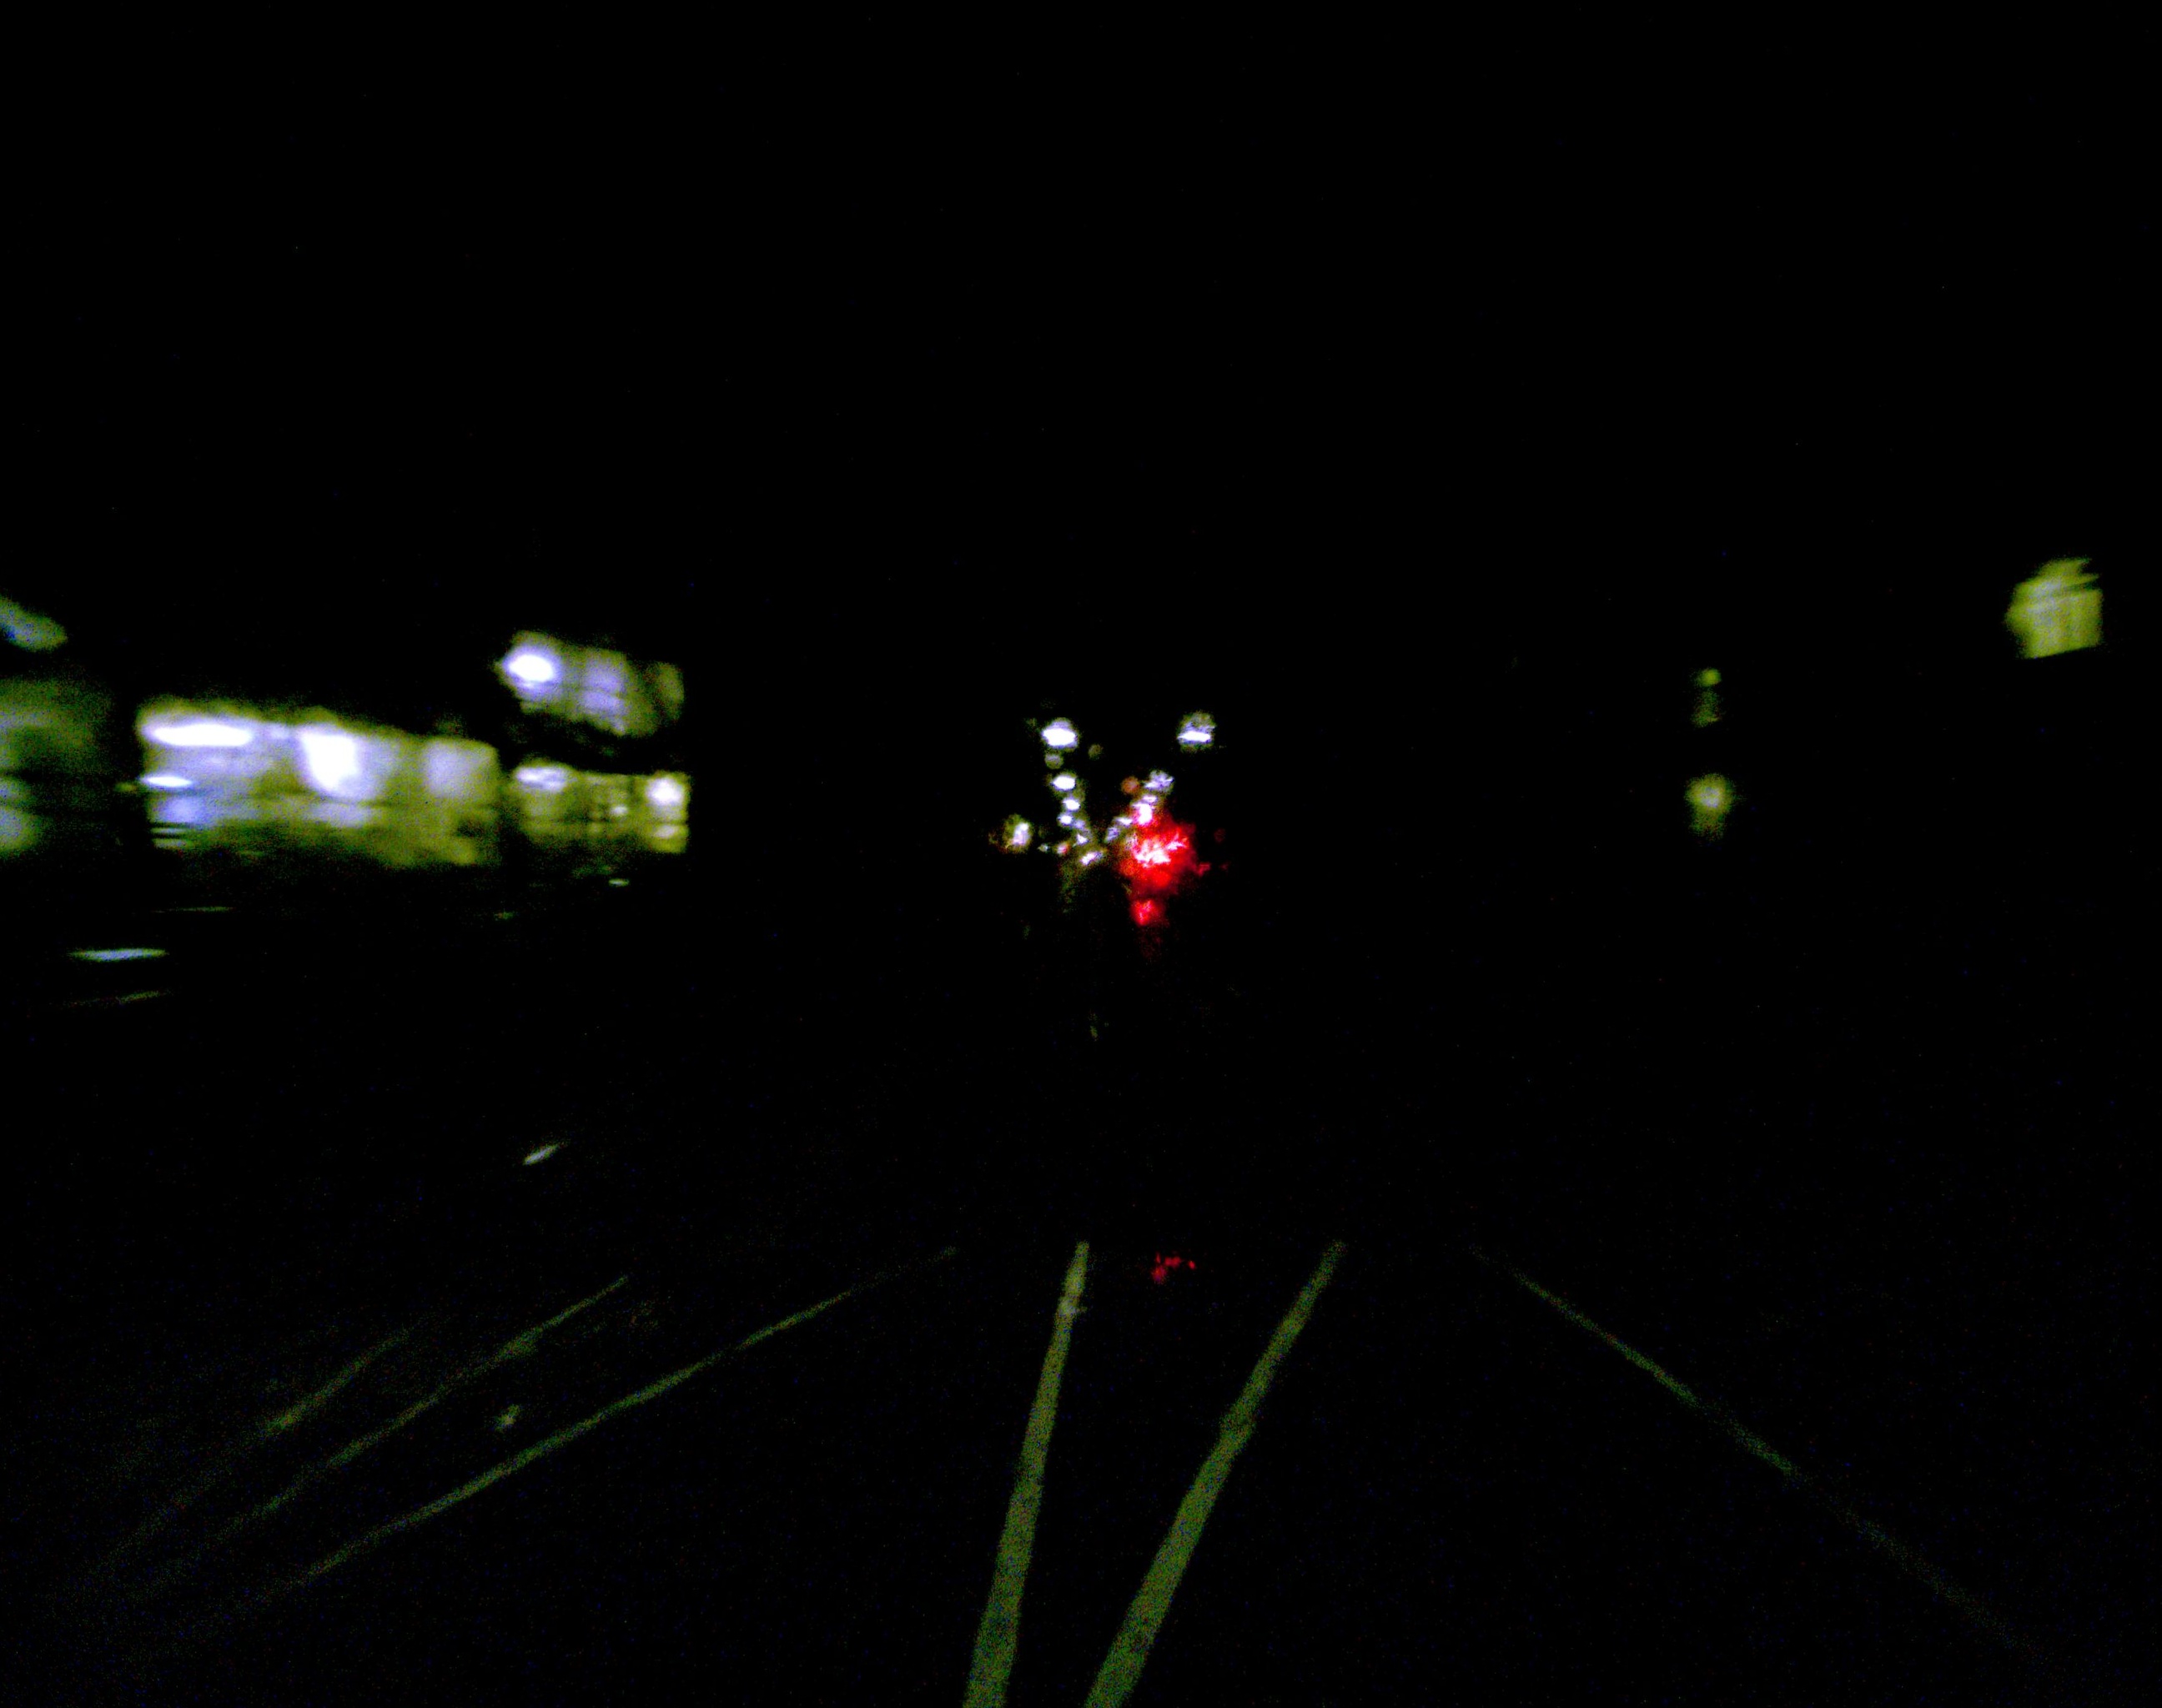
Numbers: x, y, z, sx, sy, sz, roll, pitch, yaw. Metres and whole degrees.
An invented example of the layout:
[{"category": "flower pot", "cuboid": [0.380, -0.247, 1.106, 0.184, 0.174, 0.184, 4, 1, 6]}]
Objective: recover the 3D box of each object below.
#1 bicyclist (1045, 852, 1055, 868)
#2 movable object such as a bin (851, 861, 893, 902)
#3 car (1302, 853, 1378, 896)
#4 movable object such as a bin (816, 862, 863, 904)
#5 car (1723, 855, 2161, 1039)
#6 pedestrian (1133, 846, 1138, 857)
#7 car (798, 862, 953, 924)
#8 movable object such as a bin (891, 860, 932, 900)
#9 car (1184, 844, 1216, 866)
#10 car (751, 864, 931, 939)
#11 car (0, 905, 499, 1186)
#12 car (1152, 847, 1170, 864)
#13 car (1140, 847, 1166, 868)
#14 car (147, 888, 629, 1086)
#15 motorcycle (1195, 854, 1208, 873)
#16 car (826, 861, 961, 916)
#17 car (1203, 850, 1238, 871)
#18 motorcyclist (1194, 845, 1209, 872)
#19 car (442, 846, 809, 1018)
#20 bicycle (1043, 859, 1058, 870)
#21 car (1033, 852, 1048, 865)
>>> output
[{"category": "bicyclist", "cuboid": [-3.110, 0.637, 76.950, 0.571, 1.539, 0.817, -2, 2, 29]}, {"category": "movable object such as a bin", "cuboid": [-7.634, 0.982, 27.739, 1.413, 1.399, 1.025, -1, 1, -19]}, {"category": "car", "cuboid": [10.005, 0.745, 29.642, 1.672, 1.379, 4.000, -4, 1, 2]}, {"category": "movable object such as a bin", "cuboid": [-8.343, 0.984, 26.362, 1.025, 1.399, 1.418, -1, 1, 7]}, {"category": "car", "cuboid": [9.521, 0.794, 8.378, 1.614, 1.420, 3.807, -3, 1, -1]}, {"category": "pedestrian", "cuboid": [9.562, -0.443, 133.972, 0.716, 1.764, 0.671, -4, 2, 4]}, {"category": "car", "cuboid": [-5.817, 1.045, 21.789, 1.802, 1.480, 3.863, -1, 1, 43]}, {"category": "movable object such as a bin", "cuboid": [-6.325, 0.950, 28.263, 1.353, 1.399, 1.025, -2, 1, -19]}, {"category": "car", "cuboid": [10.739, 0.081, 68.932, 1.998, 1.815, 5.309, -4, 0, 0]}, {"category": "car", "cuboid": [-5.822, 1.096, 18.727, 3.842, 1.430, 1.596, -4, 1, -43]}, {"category": "car", "cuboid": [-6.620, 1.164, 4.762, 1.687, 1.396, 4.467, -2, -1, 43]}, {"category": "car", "cuboid": [8.661, 0.149, 82.223, 1.930, 1.868, 4.639, 0, 0, 6]}, {"category": "car", "cuboid": [6.286, 0.283, 66.609, 1.943, 1.805, 4.385, 0, 0, 2]}, {"category": "car", "cuboid": [-6.705, 1.170, 7.861, 3.342, 1.377, 1.627, -3, 1, -34]}, {"category": "motorcycle", "cuboid": [8.192, 0.632, 51.679, 0.818, 1.223, 2.002, 3, 2, 10]}, {"category": "car", "cuboid": [-6.045, 1.079, 24.708, 3.797, 1.450, 1.765, -4, 1, -41]}, {"category": "car", "cuboid": [10.485, 0.469, 57.333, 1.770, 1.398, 4.140, -4, 1, -1]}, {"category": "motorcyclist", "cuboid": [8.227, 0.289, 51.748, 0.920, 1.730, 1.136, 3, 2, 10]}, {"category": "car", "cuboid": [-6.448, 0.941, 11.001, 4.181, 1.828, 1.958, -4, 1, -40]}, {"category": "bicycle", "cuboid": [-3.088, 1.093, 76.962, 0.571, 0.964, 1.783, -3, 2, 29]}, {"category": "car", "cuboid": [-4.993, 0.535, 93.856, 1.649, 1.433, 4.055, 2, 0, 0]}]
